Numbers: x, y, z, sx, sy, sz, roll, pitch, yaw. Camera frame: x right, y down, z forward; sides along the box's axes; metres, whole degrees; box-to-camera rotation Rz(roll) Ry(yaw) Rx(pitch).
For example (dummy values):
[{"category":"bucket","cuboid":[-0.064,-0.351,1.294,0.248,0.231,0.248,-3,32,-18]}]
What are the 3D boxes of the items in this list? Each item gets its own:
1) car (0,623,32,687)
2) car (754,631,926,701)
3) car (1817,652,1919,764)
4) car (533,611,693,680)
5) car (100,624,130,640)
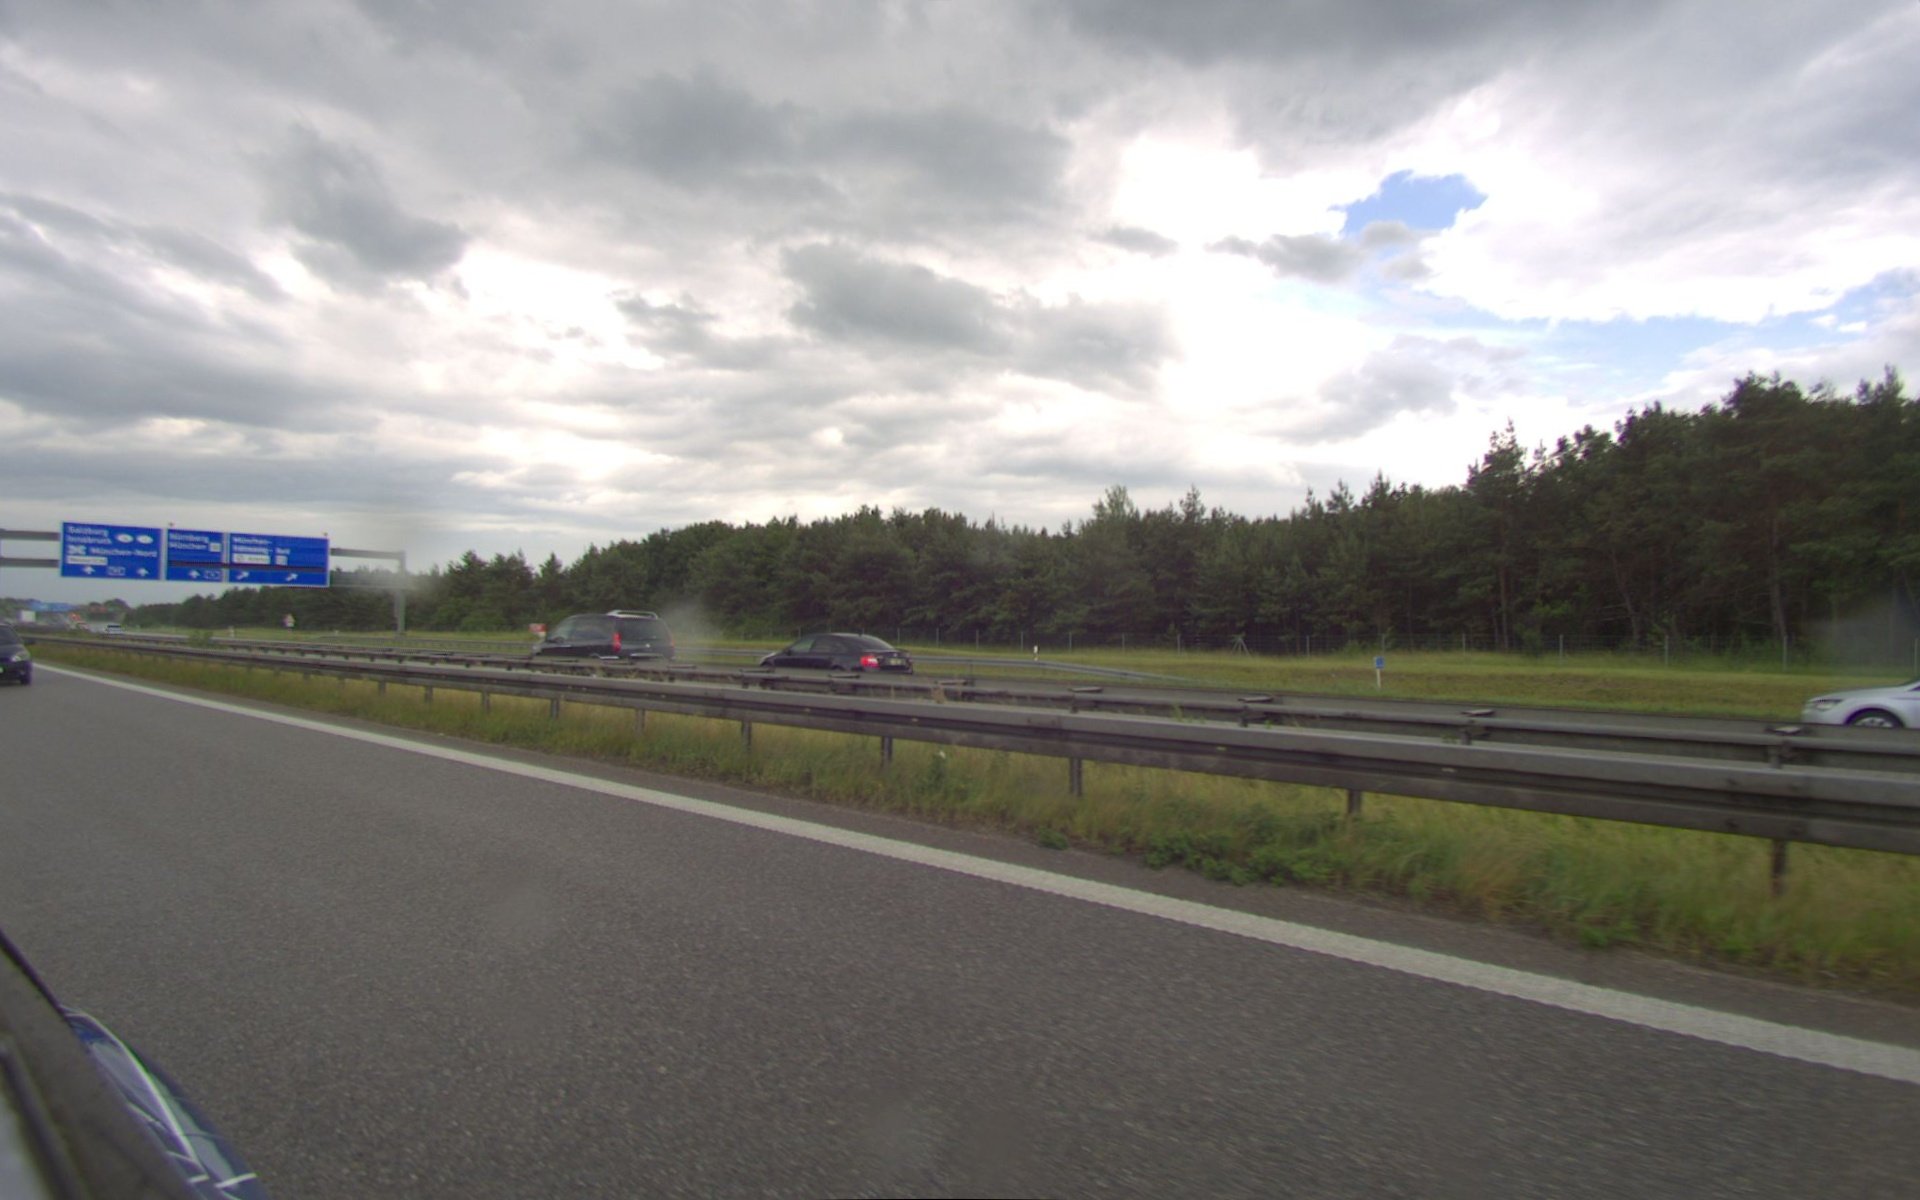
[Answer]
[{"category":"car","cuboid":[-22.618,1.235,23.067,4.430,1.339,1.786,-1,0,42]},{"category":"car","cuboid":[-2.929,1.492,24.030,4.401,1.483,1.619,-1,-2,43]},{"category":"car","cuboid":[14.570,1.478,13.456,4.817,1.483,1.772,-1,-3,41]},{"category":"car","cuboid":[-8.465,1.034,24.533,4.117,1.483,1.972,-1,0,43]},{"category":"car","cuboid":[-83.993,3.154,100.604,3.998,1.586,1.701,-1,-2,41]}]
